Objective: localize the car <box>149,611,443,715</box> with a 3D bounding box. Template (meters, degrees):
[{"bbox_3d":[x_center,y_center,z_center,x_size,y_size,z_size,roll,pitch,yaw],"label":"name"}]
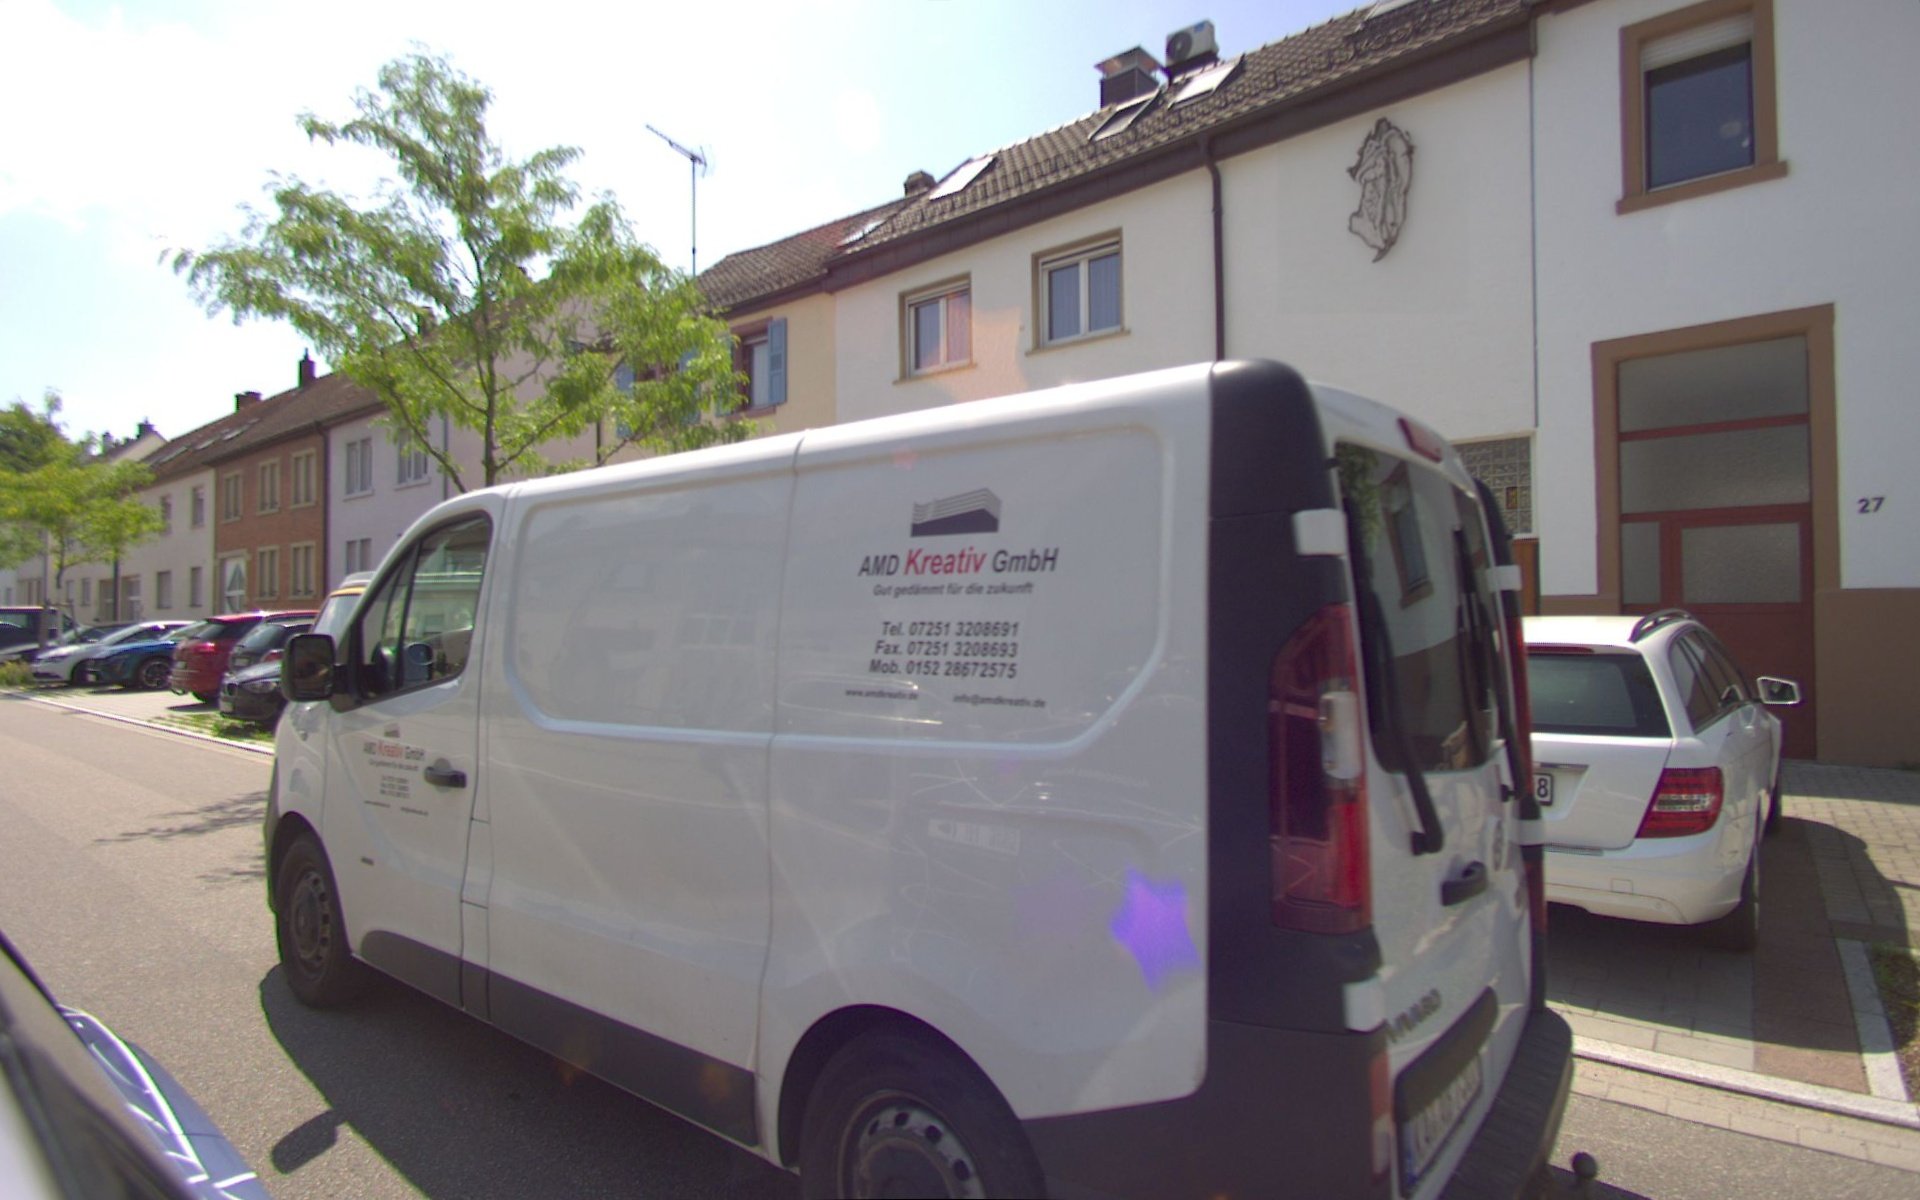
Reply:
[{"bbox_3d":[-12.166,1.068,18.792,1.840,1.623,4.213,-1,0,38],"label":"car"}]

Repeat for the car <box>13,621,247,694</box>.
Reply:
[{"bbox_3d":[-19.701,1.298,24.174,1.772,1.489,4.018,-1,0,36],"label":"car"}]

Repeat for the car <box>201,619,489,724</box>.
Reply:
[{"bbox_3d":[-10.184,1.098,16.982,1.752,1.470,3.758,-1,0,36],"label":"car"}]

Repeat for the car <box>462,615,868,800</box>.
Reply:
[{"bbox_3d":[-2.857,0.943,10.698,1.747,1.479,4.043,-1,0,30],"label":"car"}]

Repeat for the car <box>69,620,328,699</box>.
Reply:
[{"bbox_3d":[-17.028,1.255,22.847,1.771,1.489,4.366,-1,0,35],"label":"car"}]

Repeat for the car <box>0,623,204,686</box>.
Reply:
[{"bbox_3d":[-22.738,1.367,26.440,1.793,1.436,4.480,-1,0,38],"label":"car"}]

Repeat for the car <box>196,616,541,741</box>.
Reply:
[{"bbox_3d":[-8.431,1.018,14.720,1.753,1.470,3.971,-1,0,38],"label":"car"}]

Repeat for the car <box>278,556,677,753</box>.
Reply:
[{"bbox_3d":[-6.264,0.603,13.606,1.923,2.194,4.465,-1,0,38],"label":"car"}]

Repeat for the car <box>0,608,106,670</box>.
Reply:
[{"bbox_3d":[-32.282,1.317,34.530,1.951,2.011,4.566,-1,0,40],"label":"car"}]

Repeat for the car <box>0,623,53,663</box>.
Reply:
[{"bbox_3d":[-37.817,1.691,39.138,1.771,1.500,3.876,-1,0,40],"label":"car"}]

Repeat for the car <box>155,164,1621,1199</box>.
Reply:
[{"bbox_3d":[-0.758,0.521,3.439,4.891,1.965,2.003,-1,-1,38],"label":"car"}]
